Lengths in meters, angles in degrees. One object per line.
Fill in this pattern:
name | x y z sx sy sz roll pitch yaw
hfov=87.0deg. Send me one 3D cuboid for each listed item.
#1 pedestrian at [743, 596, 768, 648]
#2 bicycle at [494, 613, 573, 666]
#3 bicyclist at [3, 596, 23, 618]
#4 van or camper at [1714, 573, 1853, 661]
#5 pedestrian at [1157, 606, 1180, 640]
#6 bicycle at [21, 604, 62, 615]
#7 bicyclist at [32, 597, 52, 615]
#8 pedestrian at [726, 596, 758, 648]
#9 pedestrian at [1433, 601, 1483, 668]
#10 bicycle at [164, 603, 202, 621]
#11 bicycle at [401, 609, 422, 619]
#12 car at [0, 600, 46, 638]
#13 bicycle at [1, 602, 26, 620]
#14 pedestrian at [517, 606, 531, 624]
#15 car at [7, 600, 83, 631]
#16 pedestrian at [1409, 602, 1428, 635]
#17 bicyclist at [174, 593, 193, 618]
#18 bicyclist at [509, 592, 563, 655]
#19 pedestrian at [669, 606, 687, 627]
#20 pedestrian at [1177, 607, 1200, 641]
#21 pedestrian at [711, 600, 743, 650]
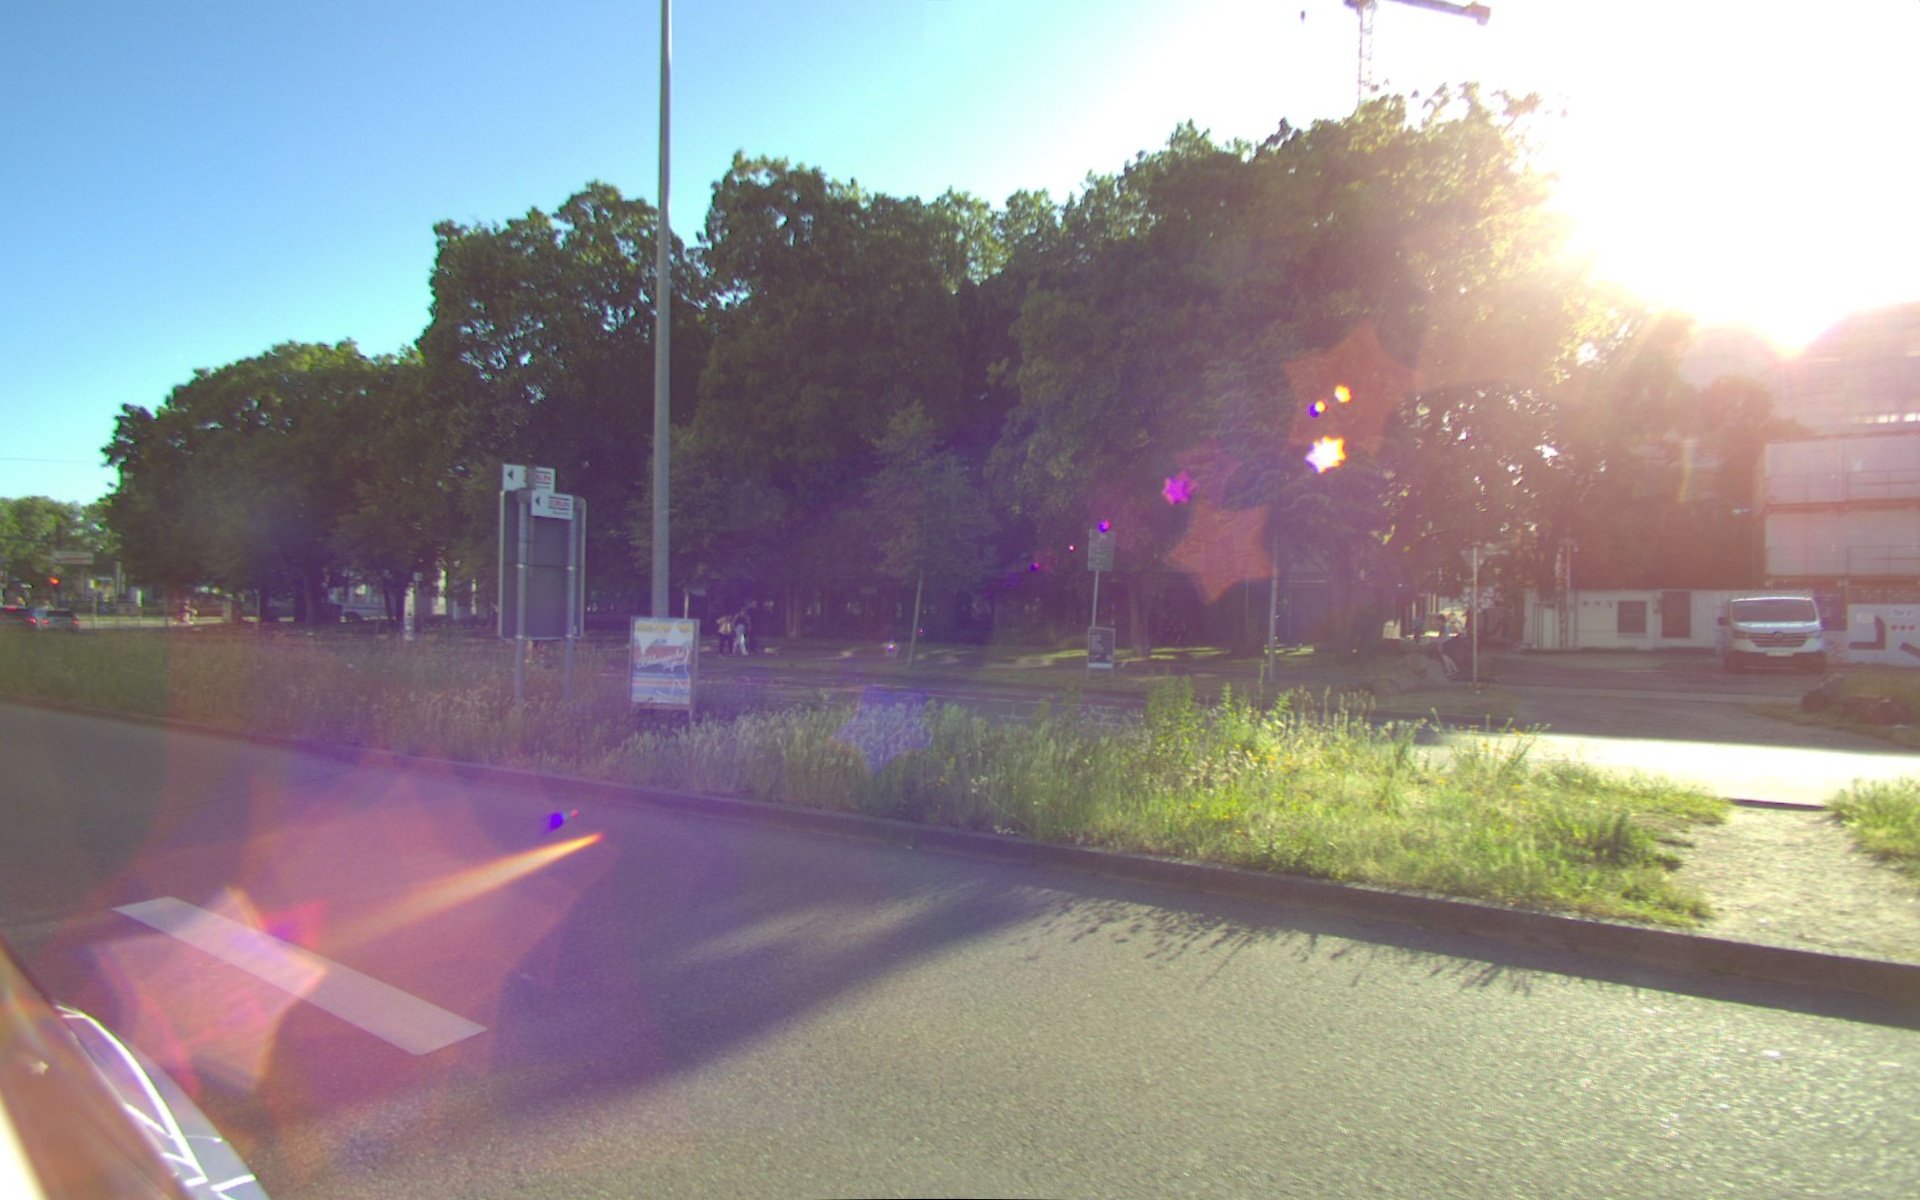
pedestrian | -7.084 0.753 35.042 0.654 1.753 0.519 0 -1 37
bicycle | -11.368 1.029 26.950 2.252 1.285 0.752 2 0 33
bicyclist | -69.353 0.505 74.139 0.837 1.631 0.976 1 -1 -28
van or camper | 21.513 0.455 26.676 2.252 2.029 5.616 2 0 34
pedestrian | 9.774 1.072 47.478 0.890 1.552 0.897 0 -1 26
bicycle | -72.277 0.742 79.658 0.841 0.858 2.307 0 -1 36
bicyclist | -72.267 0.477 79.667 0.825 1.372 0.961 0 -1 36
pedestrian | -7.460 0.756 34.642 0.759 1.753 0.764 0 -1 36
pedestrian | 11.710 0.800 23.803 0.941 1.539 0.607 -1 -1 38
bicycle | -56.650 0.858 73.807 0.776 1.249 1.999 2 0 32
bicycle | -47.318 1.214 87.250 1.596 0.895 0.764 0 -1 25
car | -40.877 0.779 43.075 4.048 1.576 1.978 0 -1 33
bicycle | -69.372 0.796 74.173 0.832 1.240 2.021 1 -1 -28
pedestrian | -32.136 1.103 74.543 0.598 1.350 0.725 0 -1 35
car | -48.501 0.805 53.628 4.575 1.538 1.917 0 -1 34
pedestrian | 23.418 0.958 51.694 0.744 1.653 0.717 0 -1 38
bicyclist | -56.635 0.397 73.820 0.752 1.756 0.829 2 0 32
bicyclist | -11.262 0.603 26.895 1.199 1.602 0.741 2 0 33
pedestrian | -18.424 1.065 66.103 0.715 1.350 0.819 0 -1 36
pedestrian | 10.622 1.104 47.009 0.890 1.552 0.897 0 -1 26
pedestrian | -7.820 0.827 33.961 0.725 1.653 0.735 0 -1 36
